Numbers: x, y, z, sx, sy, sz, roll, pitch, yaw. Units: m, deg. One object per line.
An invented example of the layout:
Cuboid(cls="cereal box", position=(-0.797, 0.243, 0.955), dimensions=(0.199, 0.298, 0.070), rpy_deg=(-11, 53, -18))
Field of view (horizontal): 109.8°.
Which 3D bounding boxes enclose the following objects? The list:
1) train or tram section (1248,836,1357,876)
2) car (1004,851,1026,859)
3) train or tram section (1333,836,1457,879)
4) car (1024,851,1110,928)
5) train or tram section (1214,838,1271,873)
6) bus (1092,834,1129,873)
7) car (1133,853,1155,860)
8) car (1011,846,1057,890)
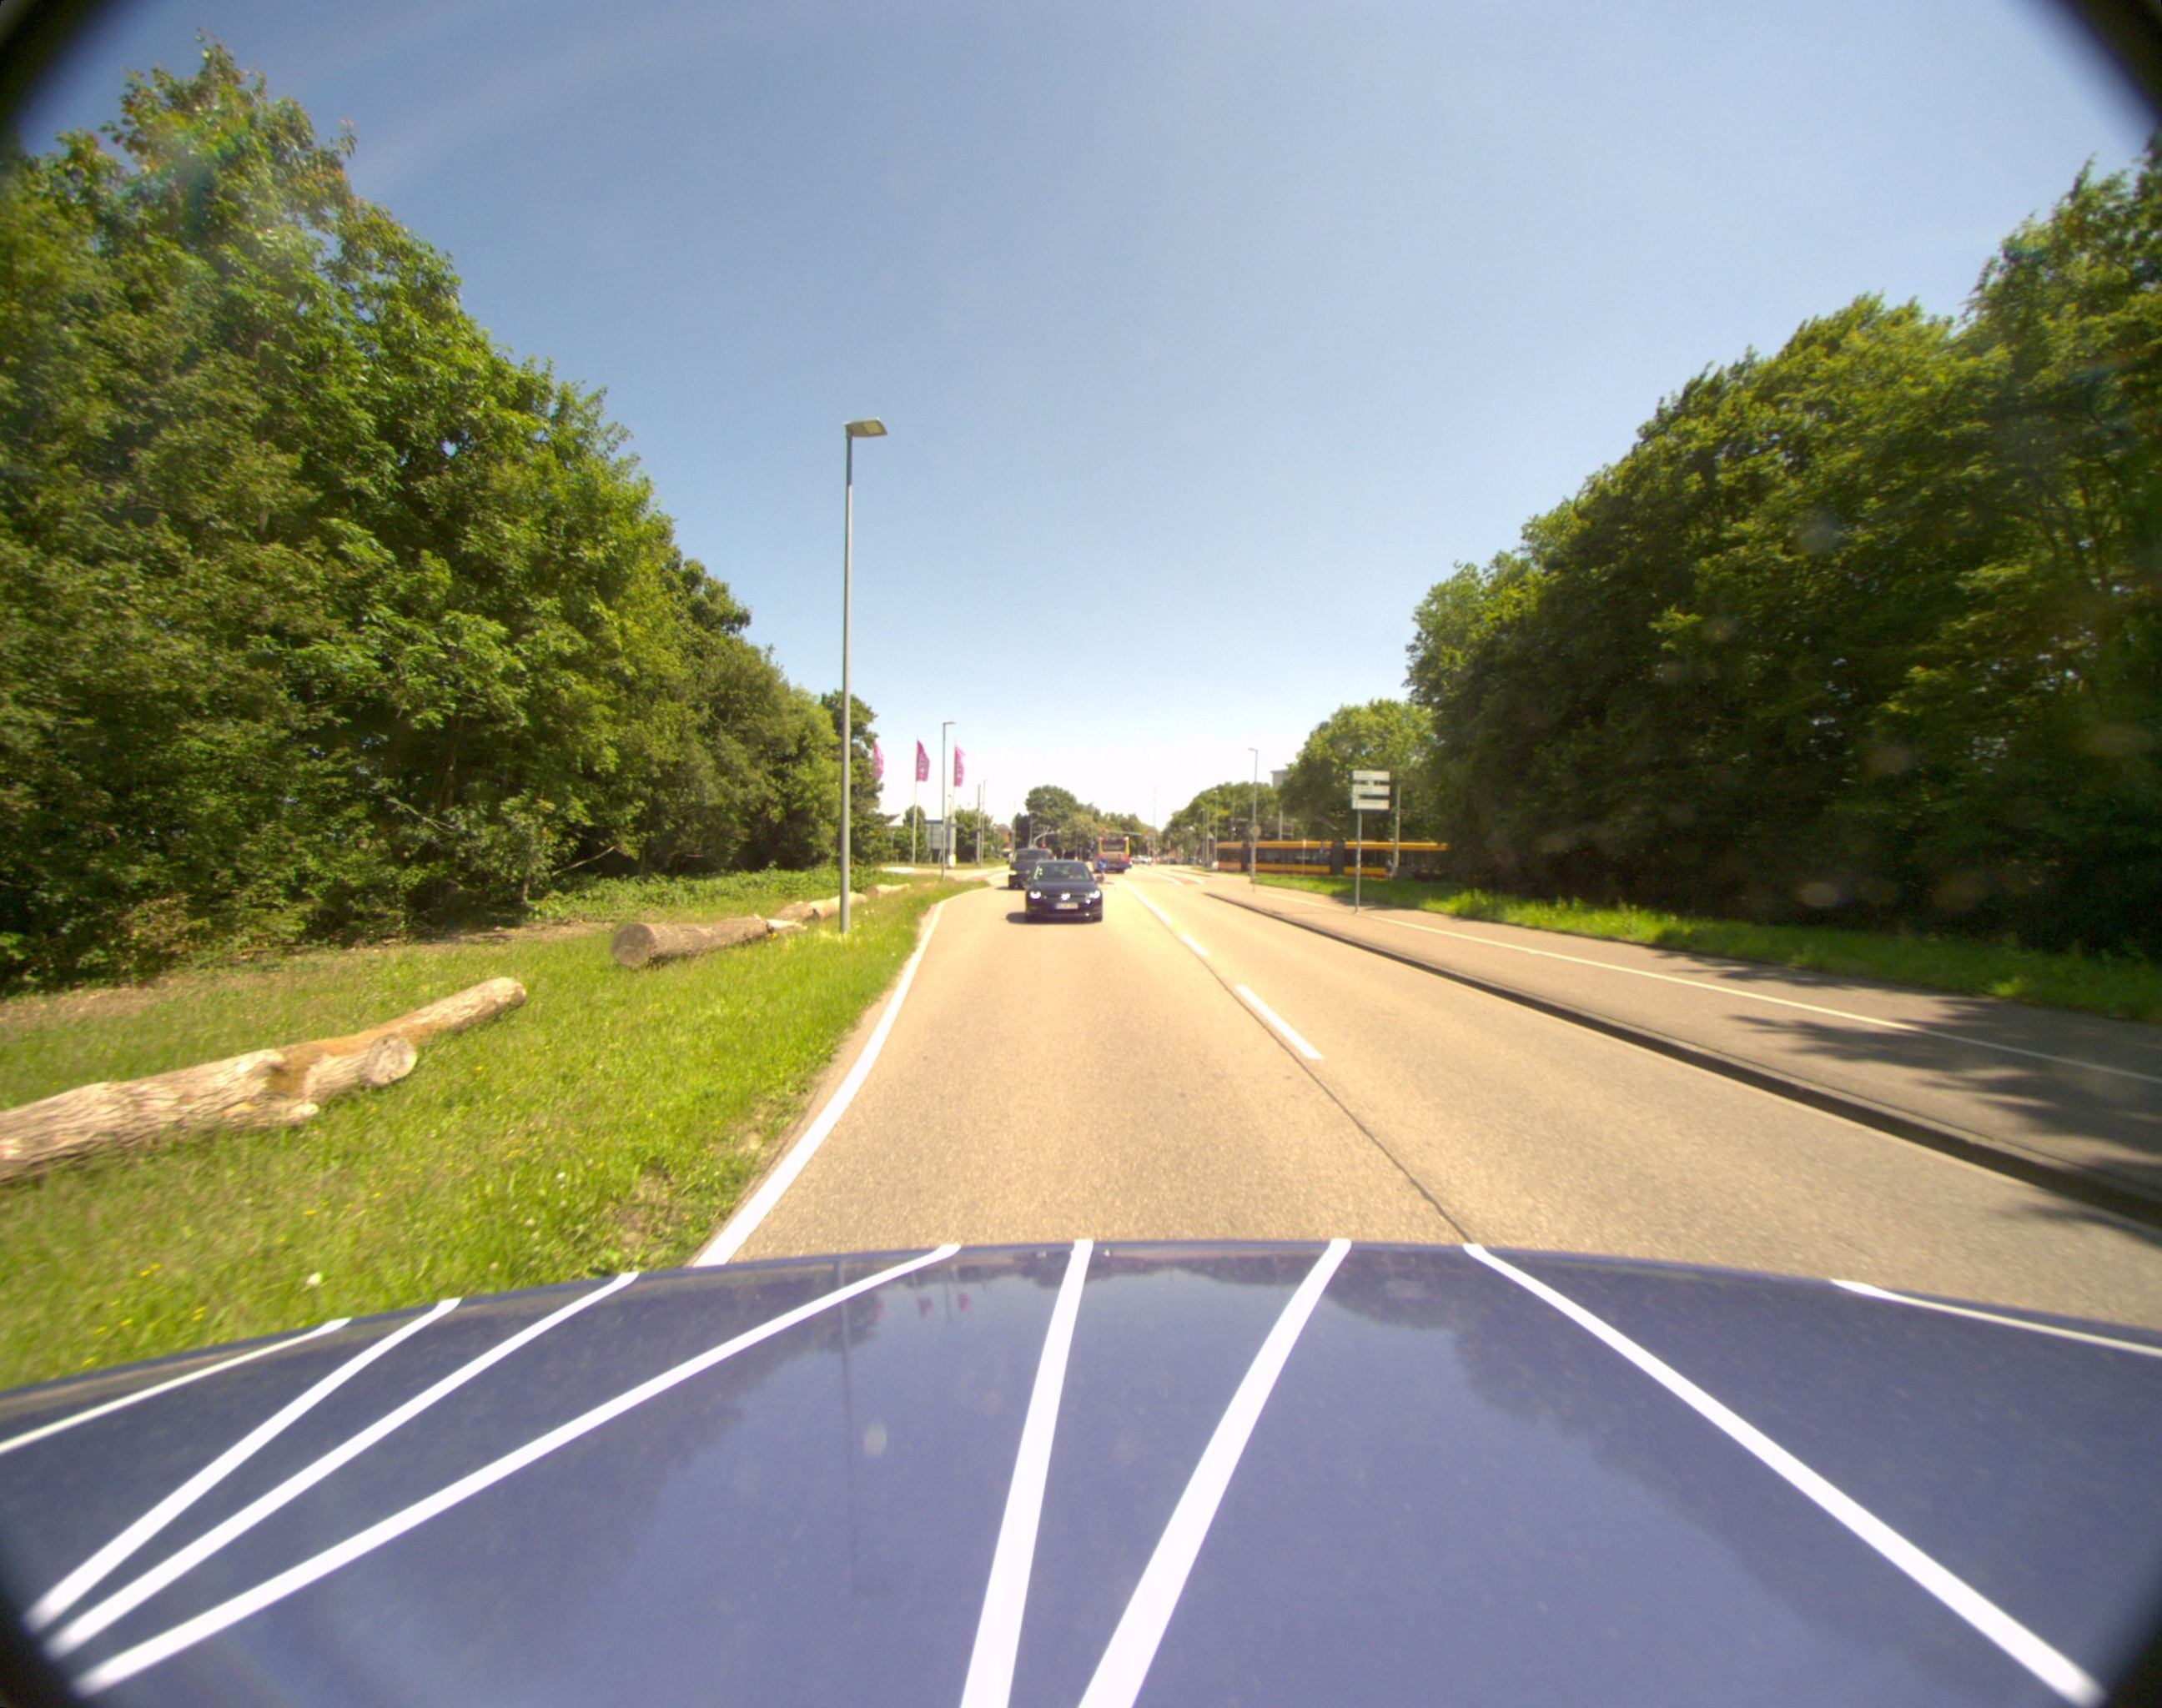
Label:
Cuboid(cls="train or tram section", position=(20.525, 0.152, 71.401), dimensions=(2.656, 3.446, 10.826), rpy_deg=(0, 0, -31))
Cuboid(cls="car", position=(-14.834, 0.266, 171.353), dimensions=(4.705, 1.770, 2.004), rpy_deg=(1, 0, 34))
Cuboid(cls="train or tram section", position=(26.682, 0.271, 64.795), dimensions=(9.325, 3.446, 2.789), rpy_deg=(1, 1, 33))
Cuboid(cls="car", position=(-0.386, 0.777, 18.991), dimensions=(1.887, 1.667, 4.661), rpy_deg=(0, 0, -2))
Cuboid(cls="train or tram section", position=(17.072, 0.166, 81.212), dimensions=(2.579, 3.446, 10.847), rpy_deg=(0, 0, -6))
Cuboid(cls="bus", position=(2.574, -0.046, 68.332), dimensions=(2.931, 3.248, 8.328), rpy_deg=(0, 0, -1))
Cuboid(cls="car", position=(12.110, 0.494, 145.861), dimensions=(3.799, 1.383, 1.635), rpy_deg=(1, 1, 26))
Cuboid(cls="car", position=(-2.175, 0.610, 36.046), dimensions=(2.002, 1.965, 4.449), rpy_deg=(0, 0, -2))
